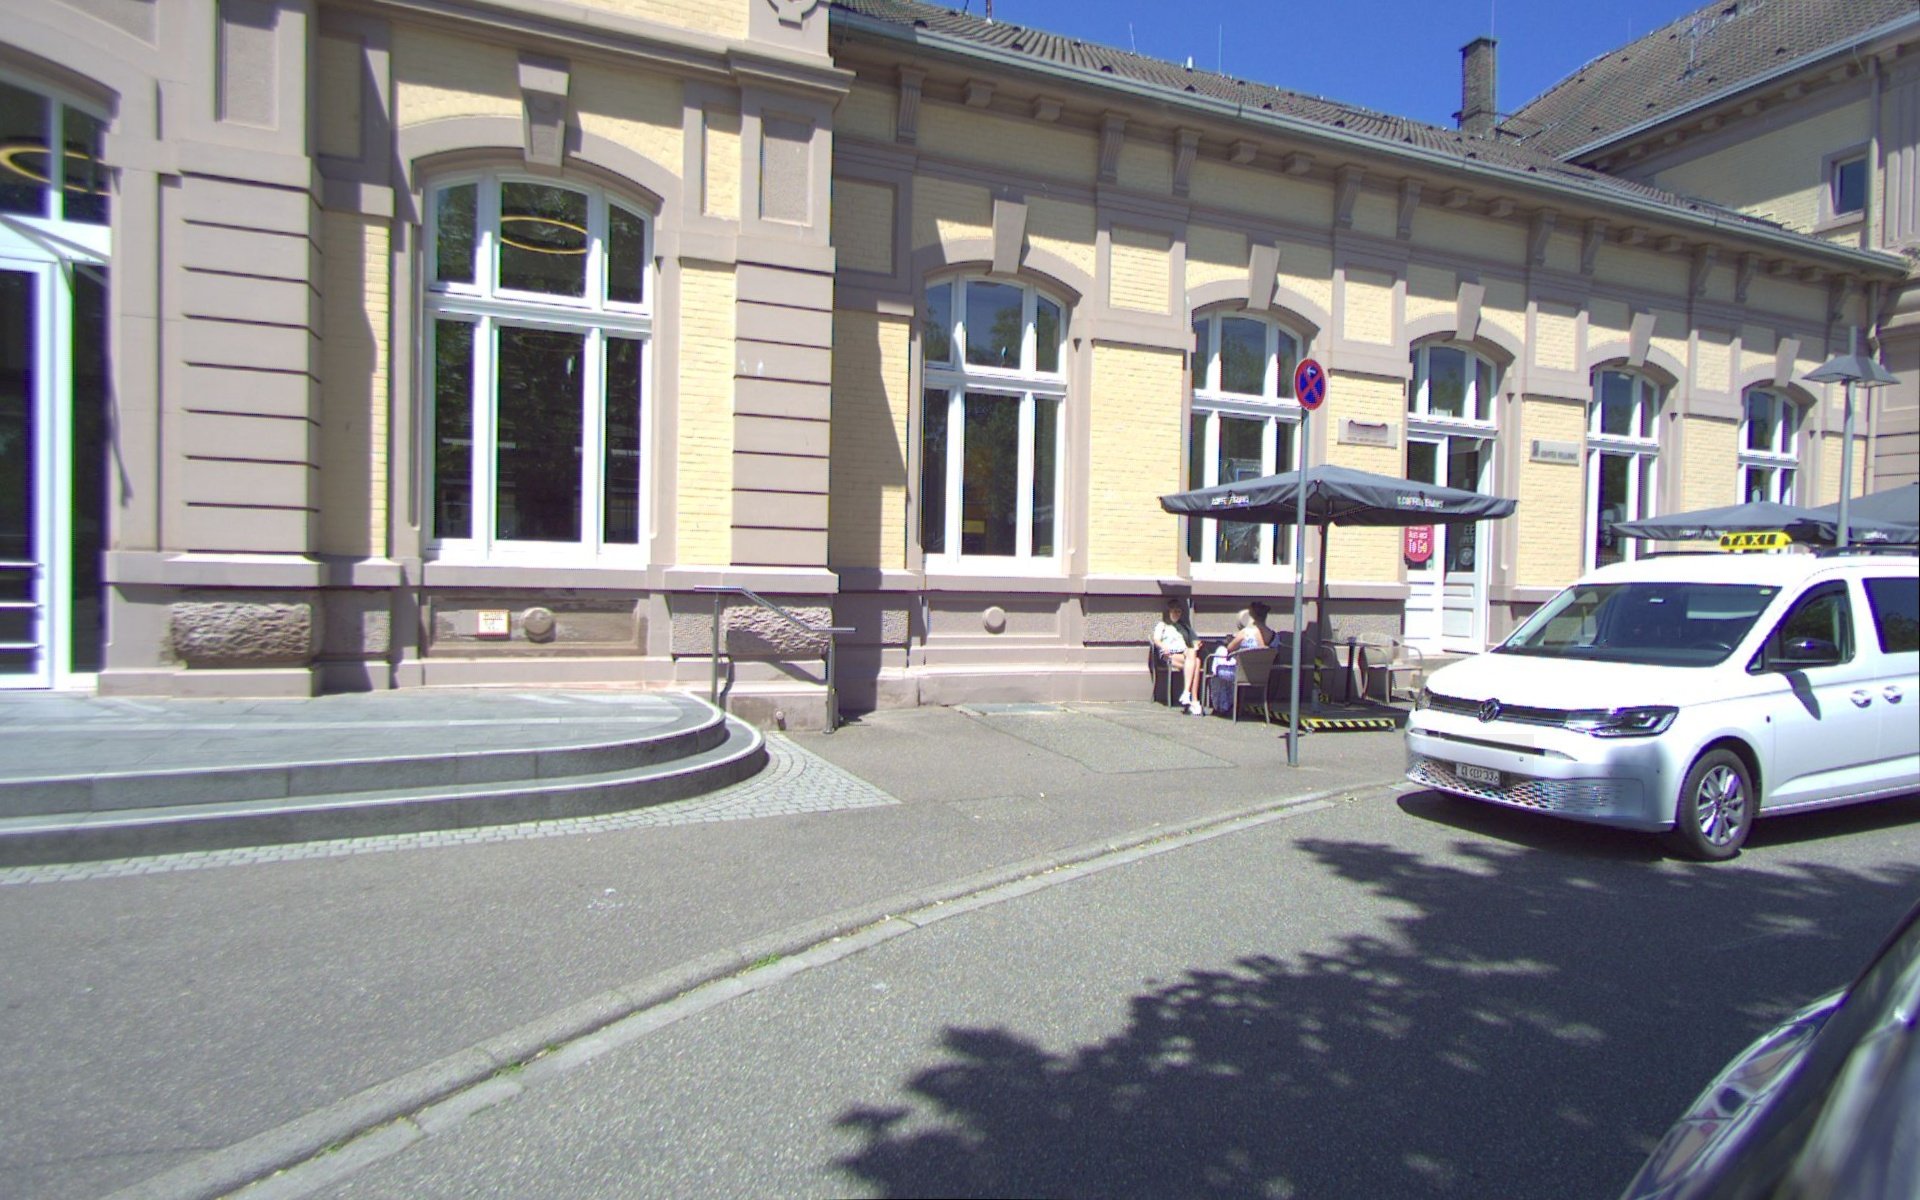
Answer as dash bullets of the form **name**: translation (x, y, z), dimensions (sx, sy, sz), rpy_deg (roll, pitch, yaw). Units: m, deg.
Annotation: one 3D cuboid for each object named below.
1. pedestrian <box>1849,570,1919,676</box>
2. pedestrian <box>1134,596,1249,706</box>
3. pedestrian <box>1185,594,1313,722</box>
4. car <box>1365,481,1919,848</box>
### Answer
- **pedestrian**: translation (14.661, 0.343, 15.773), dimensions (0.834, 1.562, 0.884), rpy_deg (0, 3, -25)
- **pedestrian**: translation (2.539, 0.533, 11.160), dimensions (0.834, 1.093, 0.884), rpy_deg (0, 3, -25)
- **pedestrian**: translation (2.930, 0.561, 10.302), dimensions (0.834, 1.176, 0.884), rpy_deg (0, 3, -25)
- **car**: translation (5.433, 0.353, 7.050), dimensions (5.031, 1.889, 1.819), rpy_deg (1, 0, -24)
